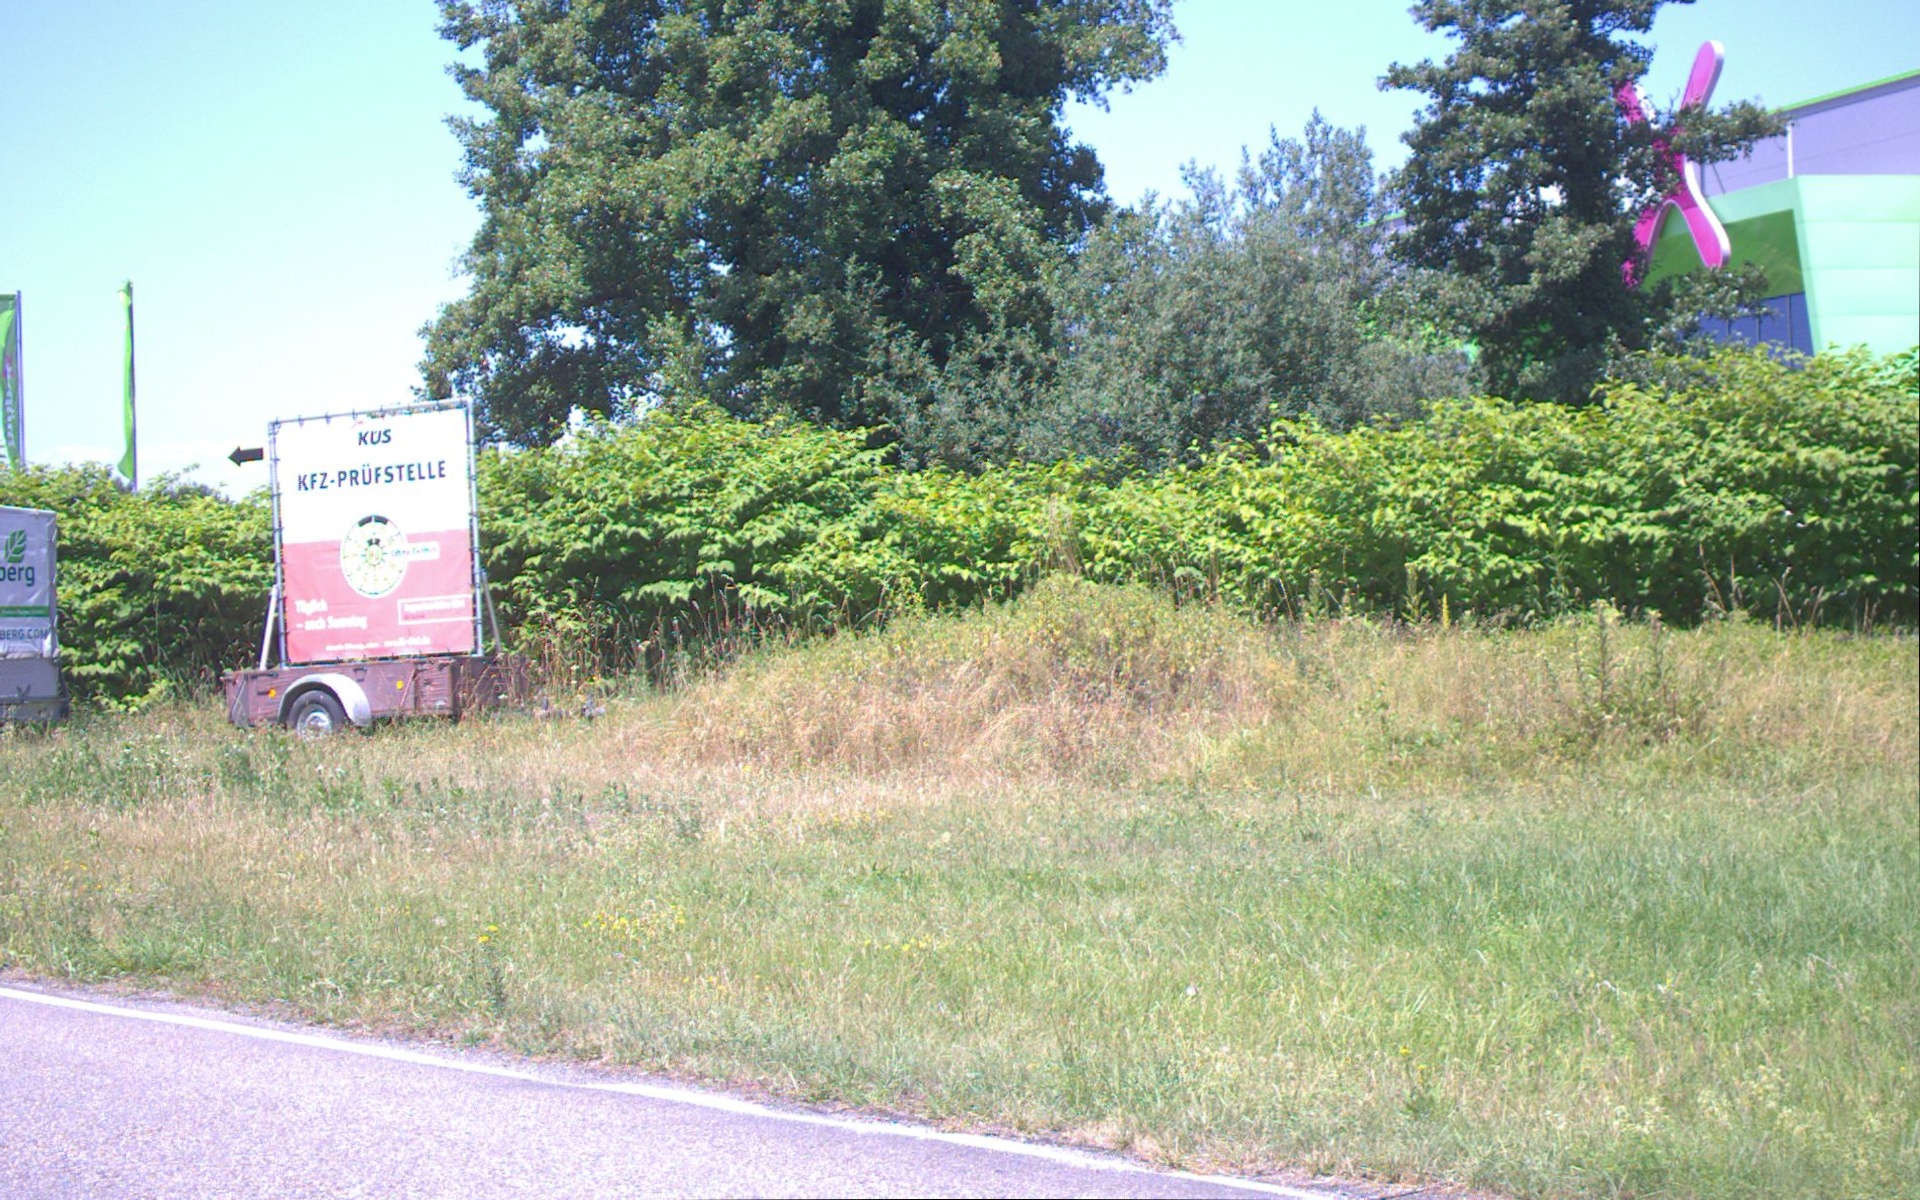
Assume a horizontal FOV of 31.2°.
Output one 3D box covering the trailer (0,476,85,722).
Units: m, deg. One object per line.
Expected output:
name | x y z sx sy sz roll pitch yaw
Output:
trailer | -9.801 0.031 29.984 3.963 2.071 1.849 -1 0 29

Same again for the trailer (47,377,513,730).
trailer | -5.449 -0.339 27.563 3.142 2.661 1.849 -1 0 29
